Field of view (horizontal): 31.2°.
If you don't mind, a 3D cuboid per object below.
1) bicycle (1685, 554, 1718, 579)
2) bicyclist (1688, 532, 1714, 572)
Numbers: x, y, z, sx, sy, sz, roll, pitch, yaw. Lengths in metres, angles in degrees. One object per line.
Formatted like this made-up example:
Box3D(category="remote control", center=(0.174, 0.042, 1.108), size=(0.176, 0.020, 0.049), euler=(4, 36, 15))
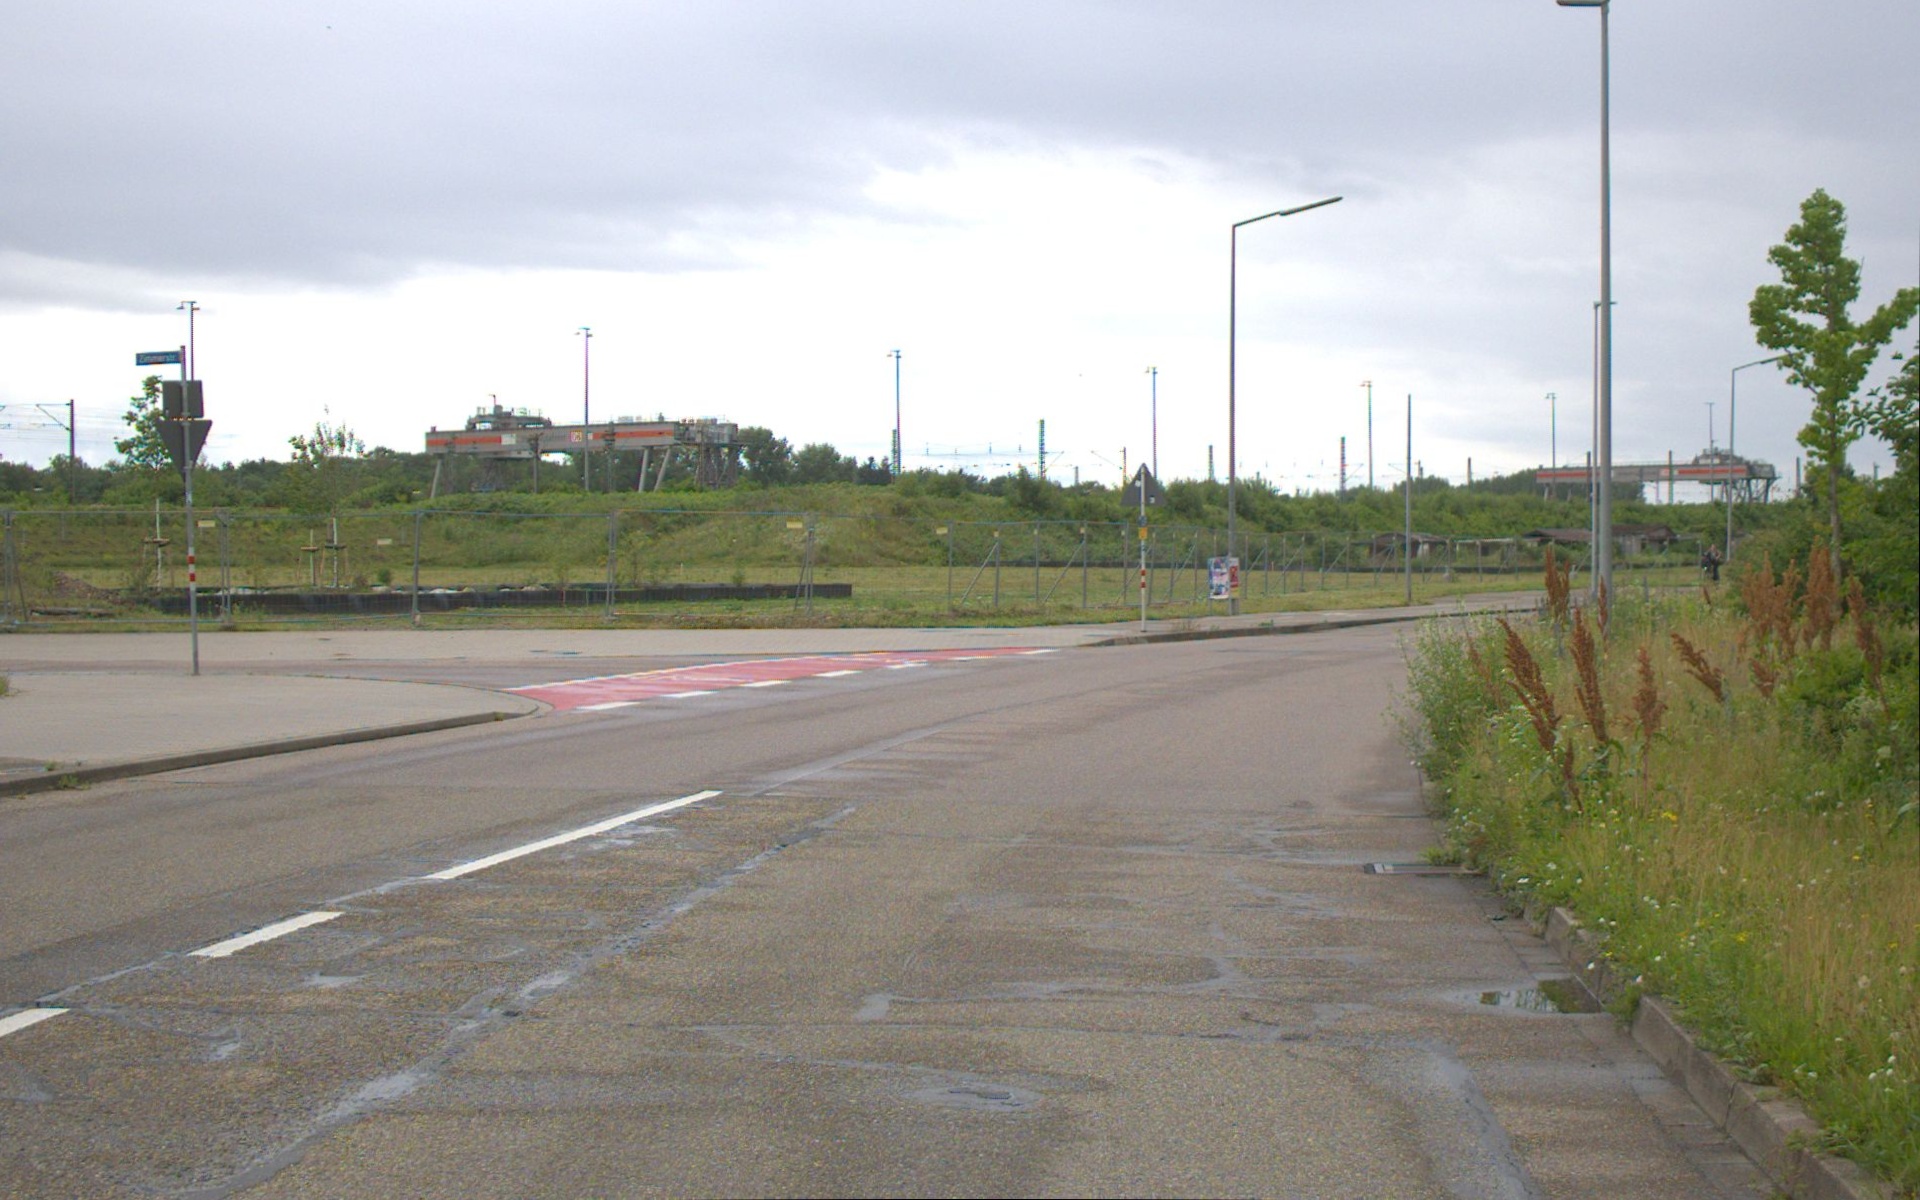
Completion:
Box3D(category="bicycle", center=(28.354, -1.282, 131.459), size=(0.804, 0.904, 2.230), euler=(1, 2, 24))
Box3D(category="bicyclist", center=(28.320, -1.849, 131.367), size=(0.783, 1.521, 1.092), euler=(1, 2, 24))
